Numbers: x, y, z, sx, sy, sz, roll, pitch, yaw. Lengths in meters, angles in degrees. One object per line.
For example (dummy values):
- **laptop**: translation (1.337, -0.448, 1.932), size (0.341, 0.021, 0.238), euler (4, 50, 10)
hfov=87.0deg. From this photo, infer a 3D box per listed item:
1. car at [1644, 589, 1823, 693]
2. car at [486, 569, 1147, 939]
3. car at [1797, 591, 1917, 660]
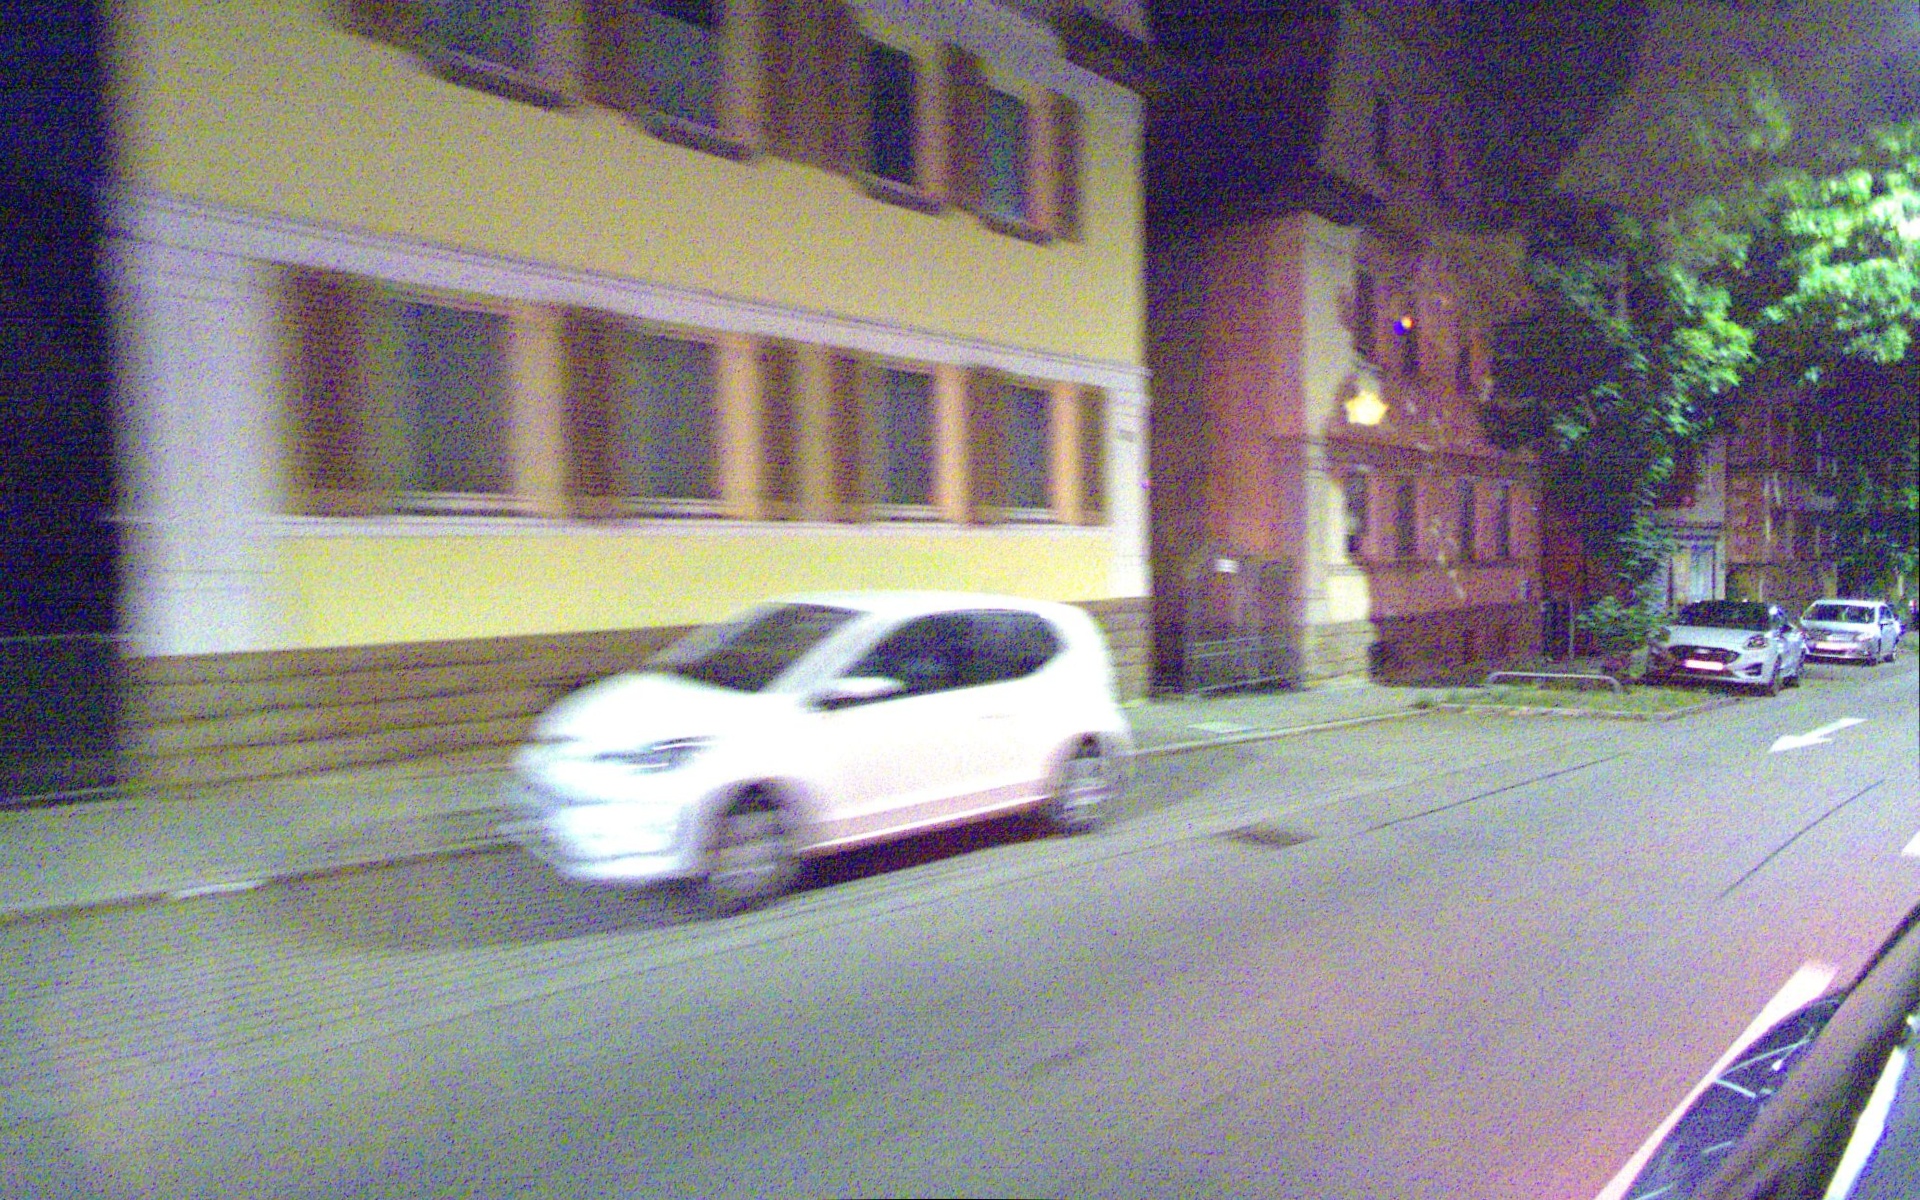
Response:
- **car**: translation (13.785, 0.644, 17.959), size (3.977, 1.572, 1.862), euler (0, 2, -43)
- **car**: translation (-0.675, 0.623, 6.006), size (3.541, 1.503, 1.671), euler (0, 2, -42)
- **car**: translation (23.677, 0.629, 26.656), size (4.281, 1.617, 1.742), euler (0, 2, -40)
